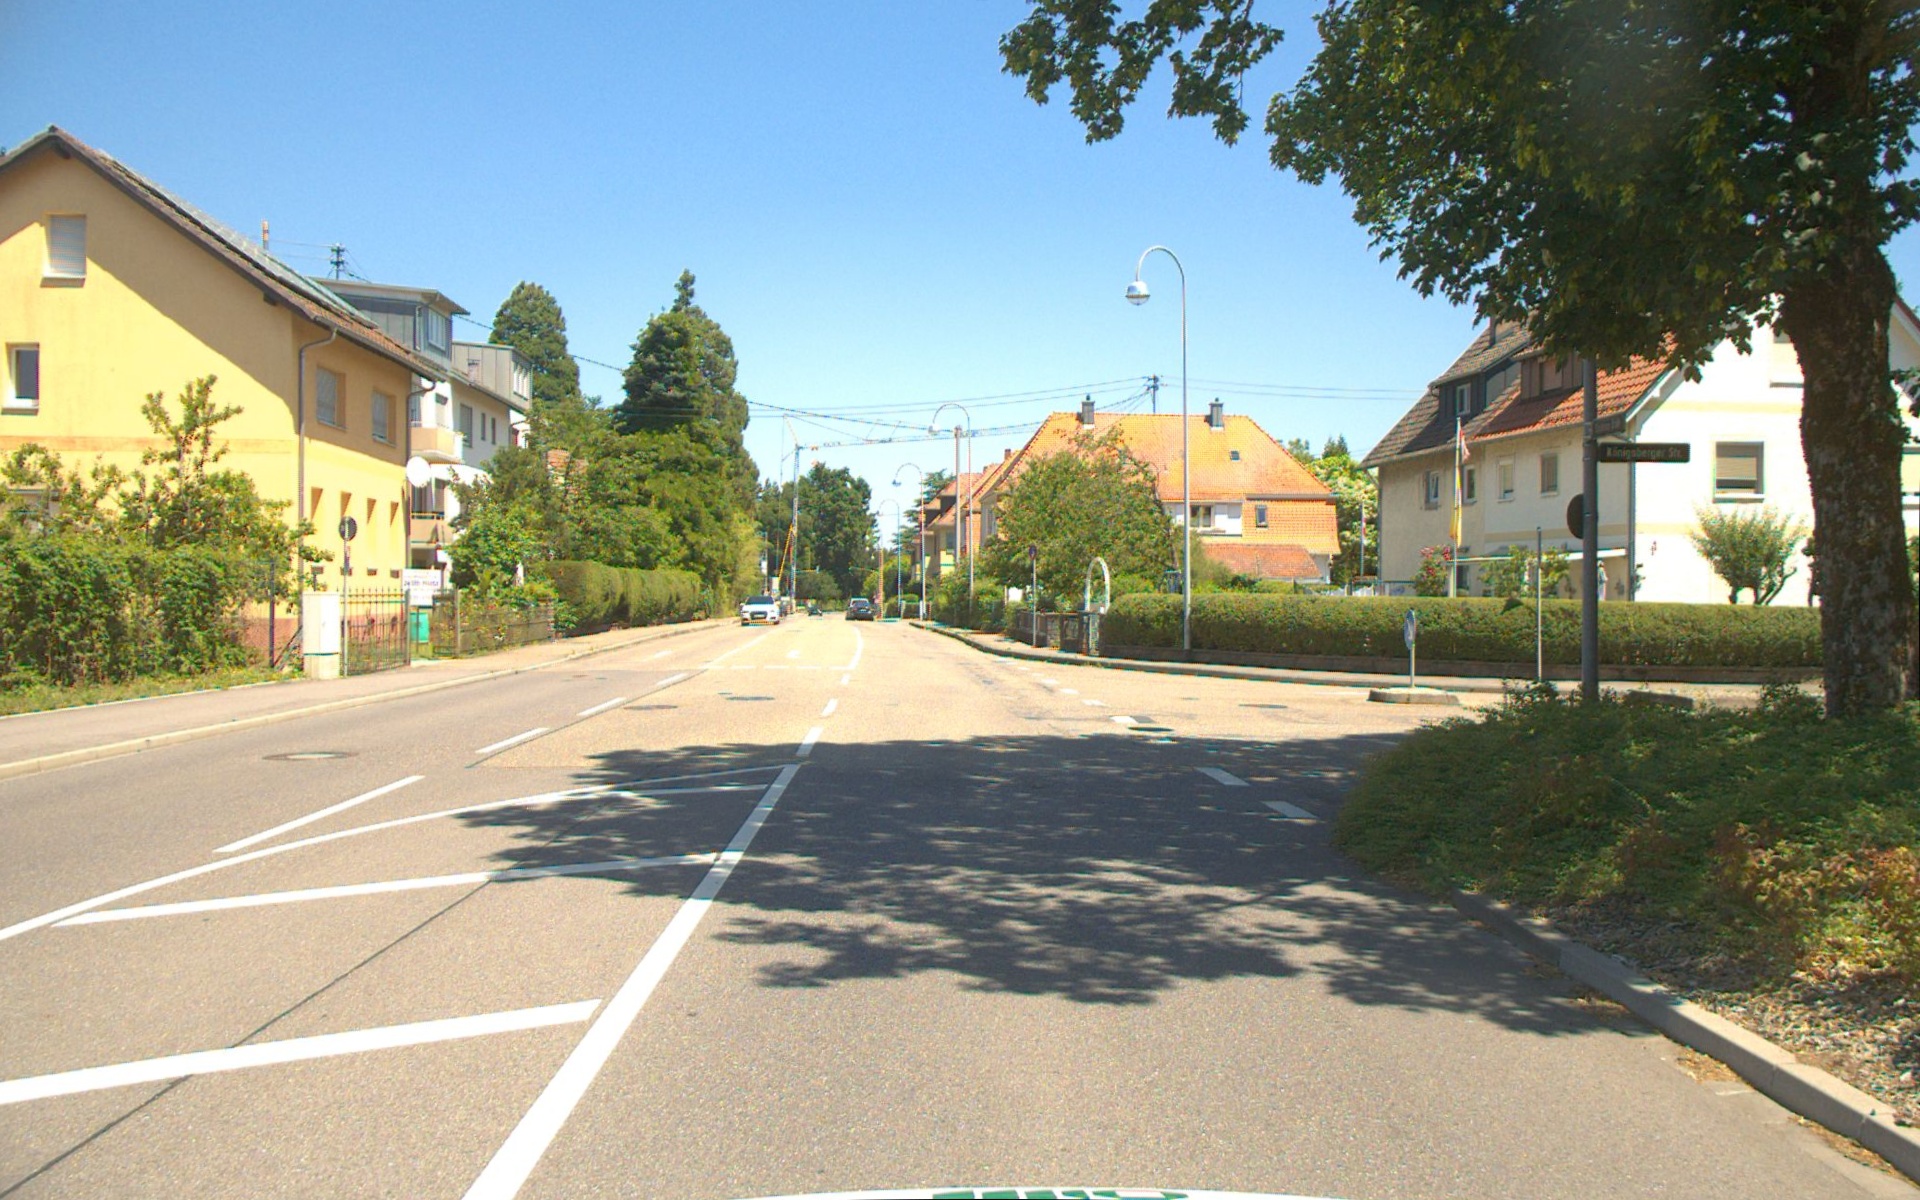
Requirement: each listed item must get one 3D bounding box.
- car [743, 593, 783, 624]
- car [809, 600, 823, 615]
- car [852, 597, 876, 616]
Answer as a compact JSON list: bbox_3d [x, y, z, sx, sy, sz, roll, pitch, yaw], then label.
[{"bbox_3d":[-9.466,0.397,79.619,1.647,1.396,4.203,-1,0,-3],"label":"car"},{"bbox_3d":[-19.512,1.017,223.863,1.955,1.882,4.706,0,2,-6],"label":"car"},{"bbox_3d":[-7.566,0.537,129.867,1.660,1.444,4.545,1,-1,-6],"label":"car"}]
